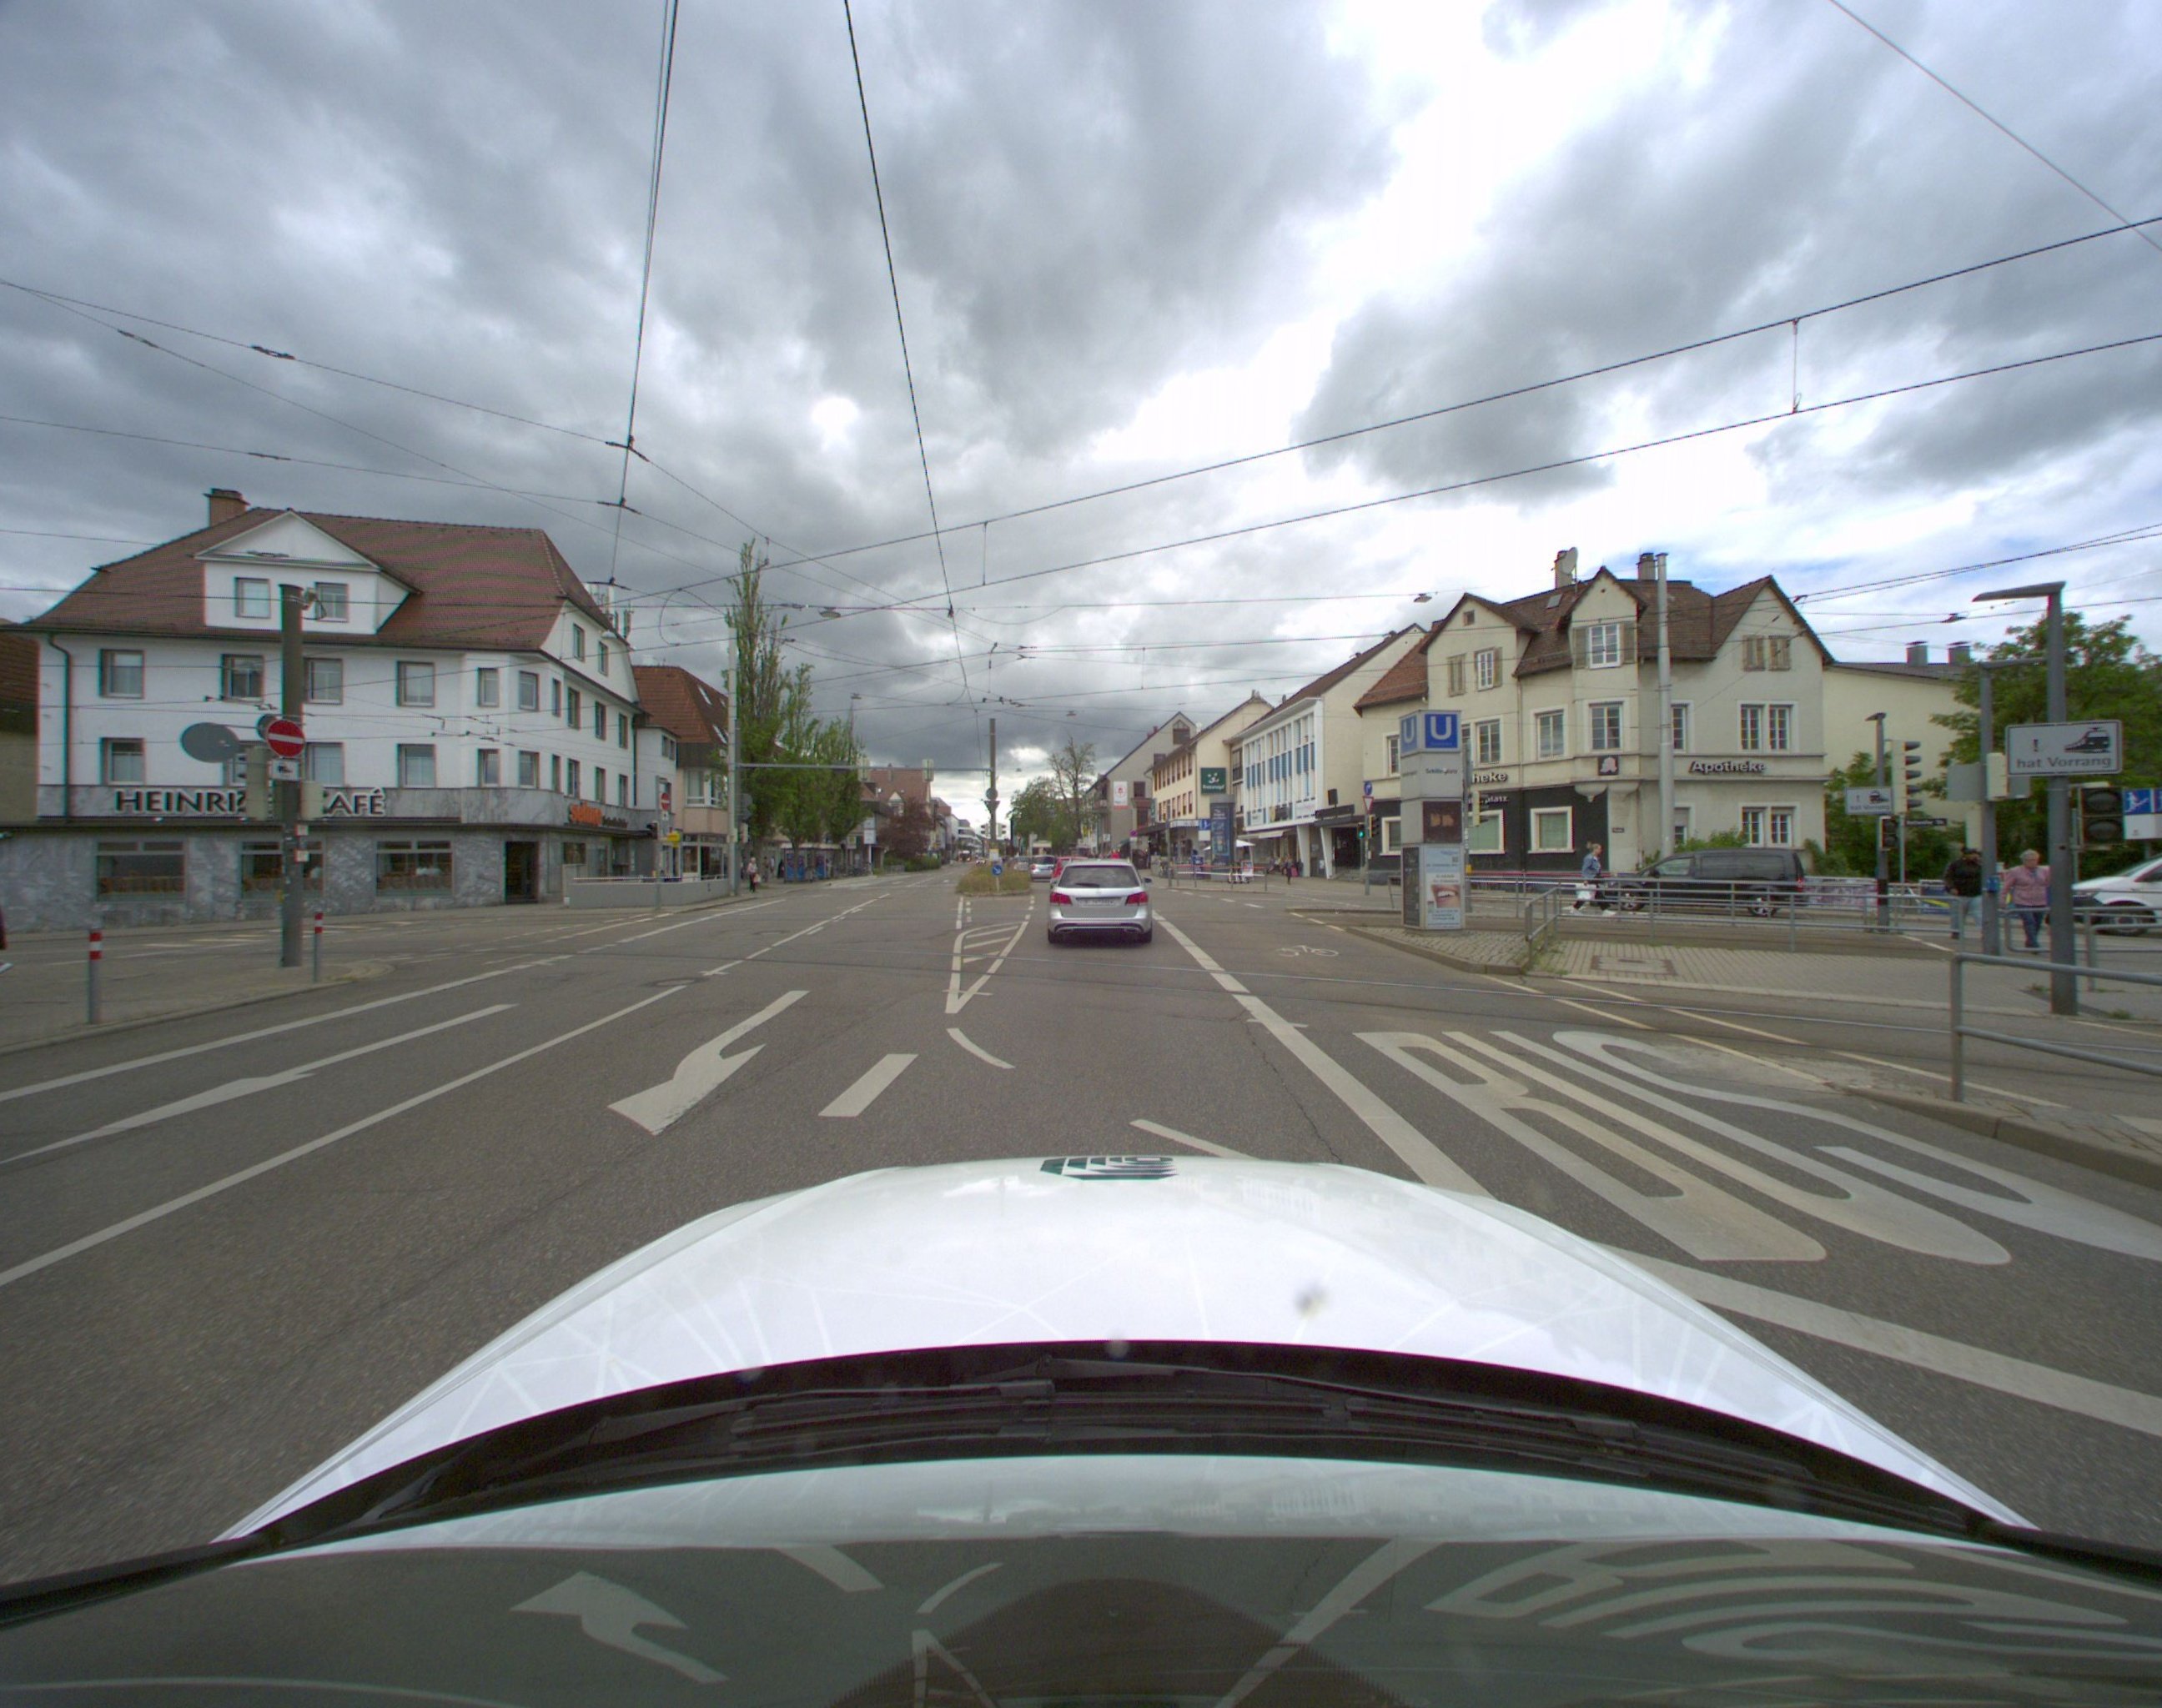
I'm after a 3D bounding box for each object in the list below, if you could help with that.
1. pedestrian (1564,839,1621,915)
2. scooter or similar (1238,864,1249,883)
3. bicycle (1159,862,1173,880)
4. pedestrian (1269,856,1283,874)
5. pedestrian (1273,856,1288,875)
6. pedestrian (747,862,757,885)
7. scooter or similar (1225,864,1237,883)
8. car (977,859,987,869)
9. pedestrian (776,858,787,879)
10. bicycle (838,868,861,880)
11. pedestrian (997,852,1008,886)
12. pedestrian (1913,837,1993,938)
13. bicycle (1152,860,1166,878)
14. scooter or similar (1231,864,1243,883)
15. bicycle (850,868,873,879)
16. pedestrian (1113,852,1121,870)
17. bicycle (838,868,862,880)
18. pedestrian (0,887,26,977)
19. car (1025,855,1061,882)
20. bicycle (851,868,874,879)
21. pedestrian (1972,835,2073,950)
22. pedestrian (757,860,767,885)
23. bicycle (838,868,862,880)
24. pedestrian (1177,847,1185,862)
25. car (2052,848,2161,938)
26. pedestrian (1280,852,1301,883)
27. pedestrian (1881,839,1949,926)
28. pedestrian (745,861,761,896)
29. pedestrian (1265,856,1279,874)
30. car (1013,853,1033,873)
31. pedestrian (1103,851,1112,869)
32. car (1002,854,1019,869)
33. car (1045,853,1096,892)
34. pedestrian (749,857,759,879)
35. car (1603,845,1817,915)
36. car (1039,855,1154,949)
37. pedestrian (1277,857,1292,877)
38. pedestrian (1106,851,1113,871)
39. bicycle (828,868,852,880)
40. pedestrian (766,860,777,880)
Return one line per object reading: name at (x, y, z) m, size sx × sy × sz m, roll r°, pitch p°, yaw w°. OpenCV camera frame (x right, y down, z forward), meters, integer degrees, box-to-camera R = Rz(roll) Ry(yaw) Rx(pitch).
pedestrian at (11.924, 0.519, 19.004) m, size 0.841 × 1.718 × 0.725 m, roll -1°, pitch 0°, yaw -9°
scooter or similar at (8.784, 1.059, 44.026) m, size 0.271 × 1.001 × 1.026 m, roll -1°, pitch 0°, yaw -9°
bicycle at (5.303, 1.038, 50.858) m, size 0.447 × 1.107 × 2.145 m, roll -1°, pitch 0°, yaw -5°
pedestrian at (12.433, 0.712, 51.963) m, size 0.736 × 1.164 × 0.641 m, roll 0°, pitch -1°, yaw -9°
pedestrian at (12.121, 0.711, 49.512) m, size 0.736 × 1.164 × 0.641 m, roll 0°, pitch -1°, yaw -9°
pedestrian at (-22.477, 1.322, 55.587) m, size 0.579 × 1.606 × 0.640 m, roll -1°, pitch -1°, yaw -19°
scooter or similar at (8.066, 1.053, 43.878) m, size 0.271 × 1.001 × 1.026 m, roll -1°, pitch 0°, yaw -9°
car at (-18.987, 1.915, 156.151) m, size 1.992 × 2.013 × 3.989 m, roll 0°, pitch 0°, yaw -8°
pedestrian at (-22.779, 1.090, 61.998) m, size 0.706 × 1.606 × 0.574 m, roll -1°, pitch -1°, yaw -27°
bicycle at (-20.083, 1.725, 70.727) m, size 1.941 × 1.029 × 0.527 m, roll 0°, pitch -1°, yaw -16°
pedestrian at (-4.114, 0.776, 42.666) m, size 0.533 × 1.763 × 0.578 m, roll -1°, pitch -1°, yaw -8°
pedestrian at (15.175, 0.568, 14.189) m, size 0.702 × 1.718 × 0.648 m, roll -1°, pitch 0°, yaw -8°
bicycle at (4.855, 0.945, 50.810) m, size 0.447 × 1.091 × 2.145 m, roll -1°, pitch 0°, yaw -5°
scooter or similar at (8.425, 1.052, 43.956) m, size 0.271 × 1.001 × 1.026 m, roll -1°, pitch 0°, yaw -9°
bicycle at (-19.788, 1.750, 73.504) m, size 1.941 × 1.029 × 0.527 m, roll 0°, pitch -1°, yaw -16°
pedestrian at (2.905, 0.557, 65.507) m, size 0.576 × 1.469 × 0.650 m, roll 0°, pitch -1°, yaw -3°
bicycle at (-19.896, 1.721, 70.153) m, size 1.941 × 1.029 × 0.527 m, roll 0°, pitch -1°, yaw -16°
pedestrian at (-17.304, 1.238, 12.797) m, size 0.497 × 1.414 × 0.756 m, roll -1°, pitch 0°, yaw 19°
car at (-2.266, 0.813, 47.796) m, size 1.733 × 1.508 × 3.989 m, roll -1°, pitch 0°, yaw -8°
bicycle at (-19.489, 1.743, 72.560) m, size 1.941 × 1.029 × 0.527 m, roll 0°, pitch -1°, yaw -16°
pedestrian at (14.589, 0.574, 12.641) m, size 0.781 × 1.718 × 0.652 m, roll 1°, pitch 0°, yaw 12°
pedestrian at (-20.996, 1.210, 53.553) m, size 0.579 × 1.606 × 0.640 m, roll -1°, pitch -1°, yaw -19°
bicycle at (-19.694, 1.717, 69.513) m, size 1.941 × 1.029 × 0.527 m, roll 0°, pitch -1°, yaw -16°
pedestrian at (8.195, 0.010, 66.742) m, size 0.533 × 1.218 × 0.578 m, roll 0°, pitch -1°, yaw -8°
car at (24.479, 0.841, 17.322) m, size 4.724 × 1.919 × 2.001 m, roll -1°, pitch -2°, yaw 45°
pedestrian at (10.775, 0.706, 41.902) m, size 0.644 × 1.591 × 0.890 m, roll 1°, pitch -1°, yaw -26°
pedestrian at (17.122, 0.566, 16.728) m, size 0.779 × 1.718 × 0.653 m, roll 1°, pitch 0°, yaw 25°
pedestrian at (-15.752, 1.167, 39.108) m, size 0.635 × 1.606 × 0.700 m, roll -1°, pitch -1°, yaw -19°
pedestrian at (12.333, 0.698, 52.612) m, size 0.736 × 1.164 × 0.641 m, roll 0°, pitch -1°, yaw -9°
car at (-5.194, 0.779, 73.091) m, size 1.731 × 1.759 × 3.993 m, roll -1°, pitch 0°, yaw -5°
pedestrian at (2.071, 0.471, 63.980) m, size 0.578 × 1.435 × 0.648 m, roll 0°, pitch -1°, yaw -13°
car at (-8.450, 0.864, 97.203) m, size 1.991 × 1.750 × 3.991 m, roll 0°, pitch 0°, yaw -6°
car at (-0.487, 0.714, 33.712) m, size 1.732 × 1.508 × 3.991 m, roll -1°, pitch 0°, yaw -6°
pedestrian at (-23.853, 1.029, 59.440) m, size 0.579 × 1.606 × 0.640 m, roll -1°, pitch -1°, yaw -19°
car at (17.637, 0.679, 23.079) m, size 4.635 × 1.821 × 1.876 m, roll 0°, pitch 0°, yaw 38°
car at (0.358, 0.790, 15.360) m, size 1.838 × 1.508 × 4.174 m, roll -1°, pitch 0°, yaw 3°
pedestrian at (12.204, 0.793, 48.862) m, size 0.736 × 1.164 × 0.641 m, roll 0°, pitch -1°, yaw -9°
pedestrian at (2.403, 0.603, 69.145) m, size 0.576 × 1.666 × 0.651 m, roll 0°, pitch -1°, yaw 0°
bicycle at (-20.348, 1.707, 68.700) m, size 1.941 × 1.029 × 0.527 m, roll 0°, pitch -1°, yaw -16°
pedestrian at (-24.439, 1.268, 64.289) m, size 0.706 × 1.606 × 0.574 m, roll -1°, pitch -1°, yaw -27°
